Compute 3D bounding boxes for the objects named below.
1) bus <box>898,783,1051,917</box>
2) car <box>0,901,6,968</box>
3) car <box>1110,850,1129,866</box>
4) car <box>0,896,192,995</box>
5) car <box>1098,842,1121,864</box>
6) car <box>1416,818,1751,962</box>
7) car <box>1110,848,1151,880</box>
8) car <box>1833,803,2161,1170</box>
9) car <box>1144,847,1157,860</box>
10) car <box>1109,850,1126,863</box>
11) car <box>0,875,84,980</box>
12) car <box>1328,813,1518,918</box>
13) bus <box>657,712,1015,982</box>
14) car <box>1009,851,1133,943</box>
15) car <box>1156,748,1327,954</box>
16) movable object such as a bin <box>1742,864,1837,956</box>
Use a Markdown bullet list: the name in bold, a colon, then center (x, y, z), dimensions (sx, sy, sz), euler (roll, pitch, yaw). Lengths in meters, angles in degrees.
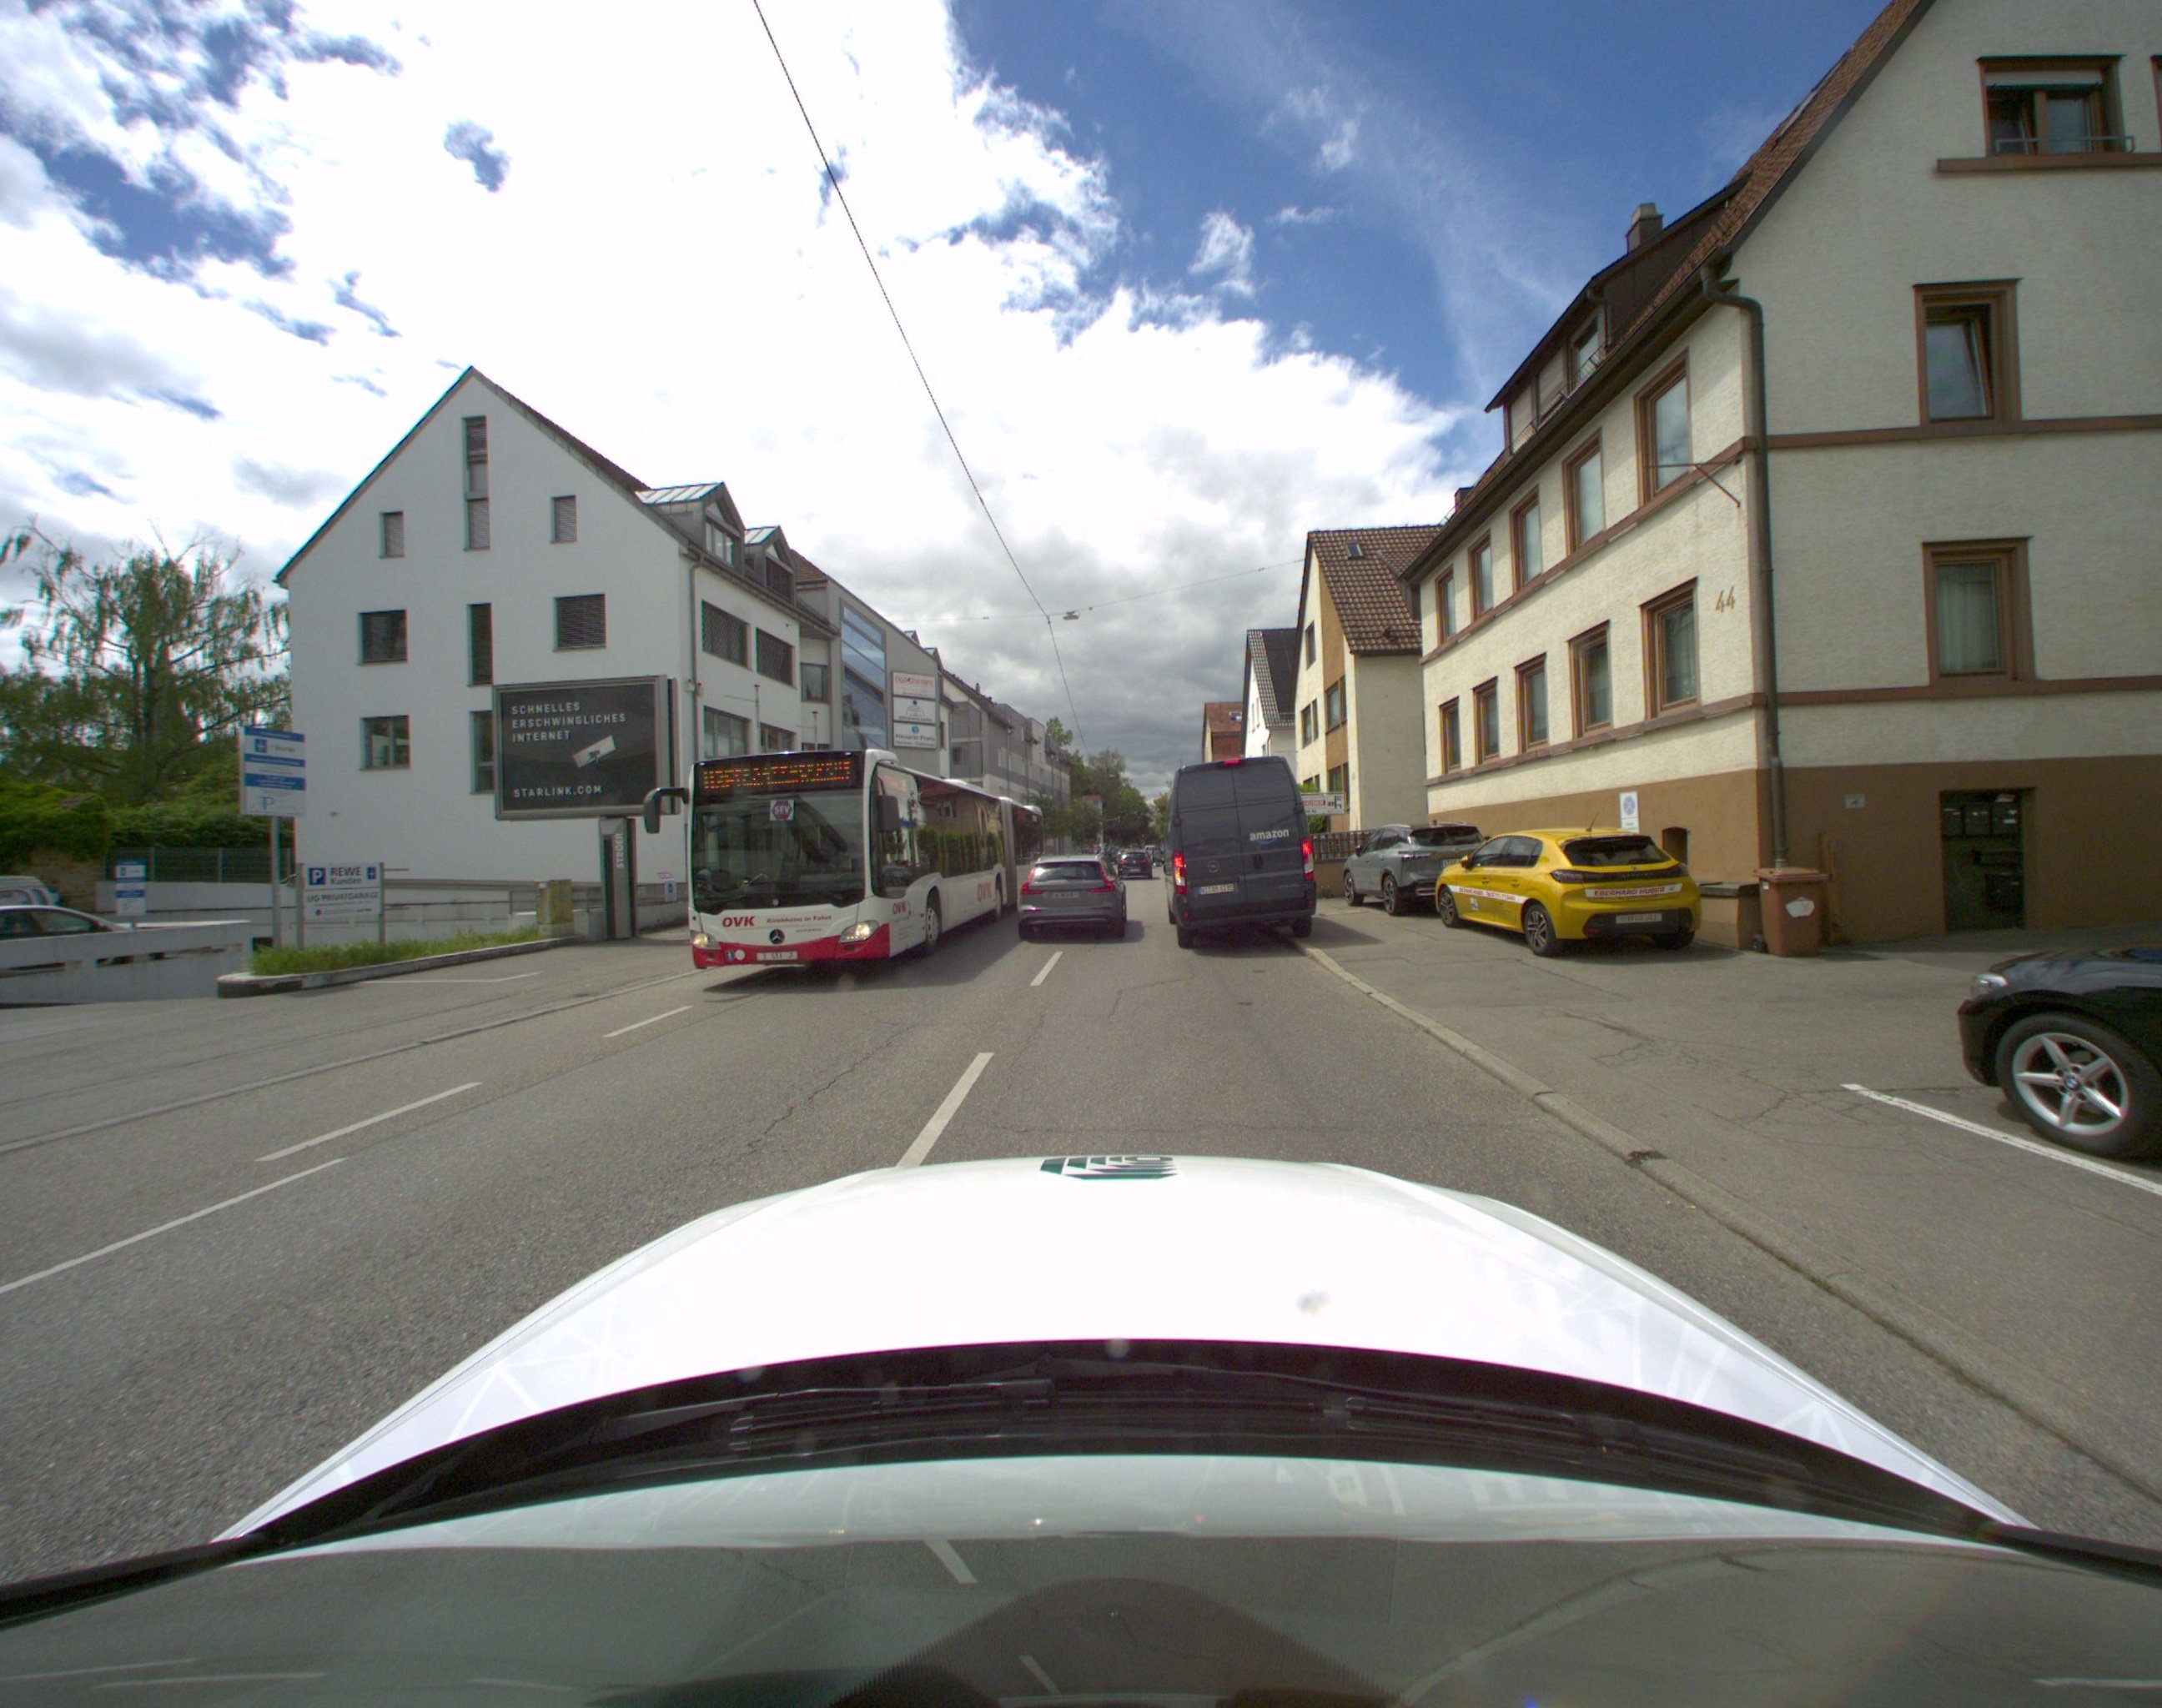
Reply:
- **bus**: center (-2.761, -0.116, 23.930), dimensions (2.703, 3.163, 8.079), euler (-2, 0, 5)
- **car**: center (-24.486, 1.787, 15.388), dimensions (1.801, 1.438, 4.694), euler (-2, 0, 9)
- **car**: center (4.499, 0.446, 95.483), dimensions (2.096, 1.709, 4.769), euler (-2, 0, 3)
- **car**: center (-19.330, 1.672, 14.932), dimensions (1.805, 1.529, 3.758), euler (-2, 0, 1)
- **car**: center (2.944, -0.120, 83.695), dimensions (2.097, 2.121, 4.769), euler (-4, 0, 3)
- **car**: center (6.233, 0.298, 10.815), dimensions (1.870, 1.447, 4.310), euler (-3, 2, 2)
- **car**: center (2.569, 0.471, 41.100), dimensions (1.887, 1.446, 3.975), euler (-2, 0, 5)
- **car**: center (5.207, 0.492, 2.341), dimensions (1.961, 1.447, 4.537), euler (-3, 0, 2)
- **car**: center (11.939, -0.107, 139.613), dimensions (1.984, 2.013, 4.006), euler (-2, 0, 5)
- **car**: center (4.805, 0.337, 107.161), dimensions (2.096, 1.596, 4.654), euler (-2, 0, 3)
- **car**: center (-22.042, 1.488, 14.776), dimensions (1.828, 1.989, 4.658), euler (-2, 0, 7)
- **car**: center (6.294, 0.161, 15.611), dimensions (1.853, 1.612, 4.590), euler (-3, 0, 3)
- **bus**: center (-3.396, -0.103, 14.960), dimensions (2.670, 3.163, 10.197), euler (-2, 0, 4)
- **car**: center (-0.037, 0.705, 15.417), dimensions (1.887, 1.453, 3.975), euler (-2, 0, 5)
- **car**: center (2.492, -0.056, 14.132), dimensions (2.242, 2.795, 5.578), euler (-2, 0, 5)
- **movable object such as a bin**: center (7.585, 0.584, 8.746), dimensions (0.498, 0.925, 0.599), euler (-2, 0, 7)
